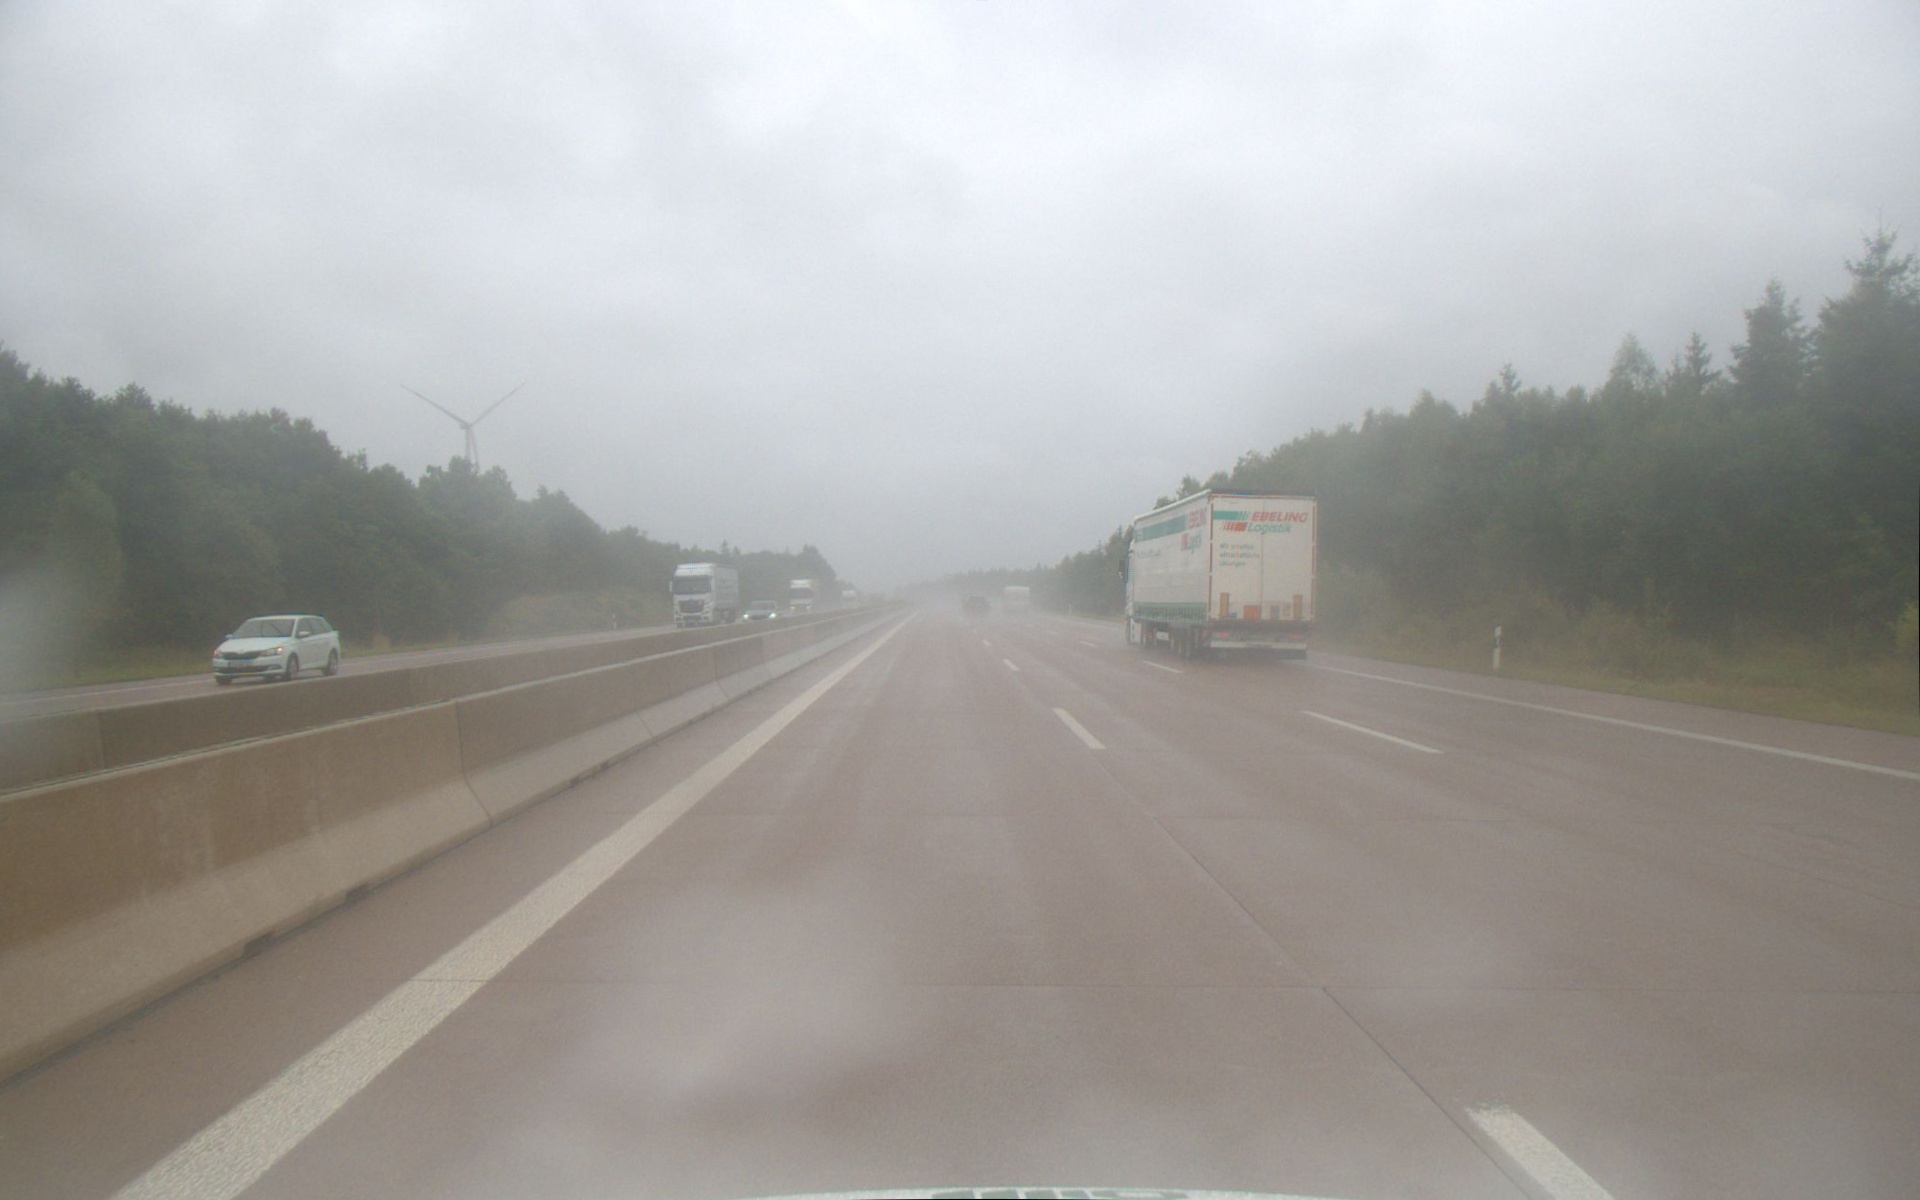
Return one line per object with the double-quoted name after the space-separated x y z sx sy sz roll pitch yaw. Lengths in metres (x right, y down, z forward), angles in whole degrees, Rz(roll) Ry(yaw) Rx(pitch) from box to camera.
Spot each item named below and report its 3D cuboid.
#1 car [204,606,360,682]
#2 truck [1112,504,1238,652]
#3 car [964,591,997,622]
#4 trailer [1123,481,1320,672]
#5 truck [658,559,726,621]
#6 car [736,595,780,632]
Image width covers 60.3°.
-15.550 0.964 38.200 1.718 1.505 4.582 -3 0 -1 "car"
6.476 -0.676 50.657 2.822 4.178 6.348 -1 1 -1 "truck"
1.384 0.435 113.189 2.129 2.016 4.129 -2 0 -1 "car"
6.633 -0.606 44.408 2.795 4.305 13.128 -1 1 -1 "trailer"
-17.852 -0.623 110.662 3.402 3.957 7.461 1 0 -2 "truck"
-10.312 0.683 84.732 1.752 1.827 3.876 -2 0 0 "car"
